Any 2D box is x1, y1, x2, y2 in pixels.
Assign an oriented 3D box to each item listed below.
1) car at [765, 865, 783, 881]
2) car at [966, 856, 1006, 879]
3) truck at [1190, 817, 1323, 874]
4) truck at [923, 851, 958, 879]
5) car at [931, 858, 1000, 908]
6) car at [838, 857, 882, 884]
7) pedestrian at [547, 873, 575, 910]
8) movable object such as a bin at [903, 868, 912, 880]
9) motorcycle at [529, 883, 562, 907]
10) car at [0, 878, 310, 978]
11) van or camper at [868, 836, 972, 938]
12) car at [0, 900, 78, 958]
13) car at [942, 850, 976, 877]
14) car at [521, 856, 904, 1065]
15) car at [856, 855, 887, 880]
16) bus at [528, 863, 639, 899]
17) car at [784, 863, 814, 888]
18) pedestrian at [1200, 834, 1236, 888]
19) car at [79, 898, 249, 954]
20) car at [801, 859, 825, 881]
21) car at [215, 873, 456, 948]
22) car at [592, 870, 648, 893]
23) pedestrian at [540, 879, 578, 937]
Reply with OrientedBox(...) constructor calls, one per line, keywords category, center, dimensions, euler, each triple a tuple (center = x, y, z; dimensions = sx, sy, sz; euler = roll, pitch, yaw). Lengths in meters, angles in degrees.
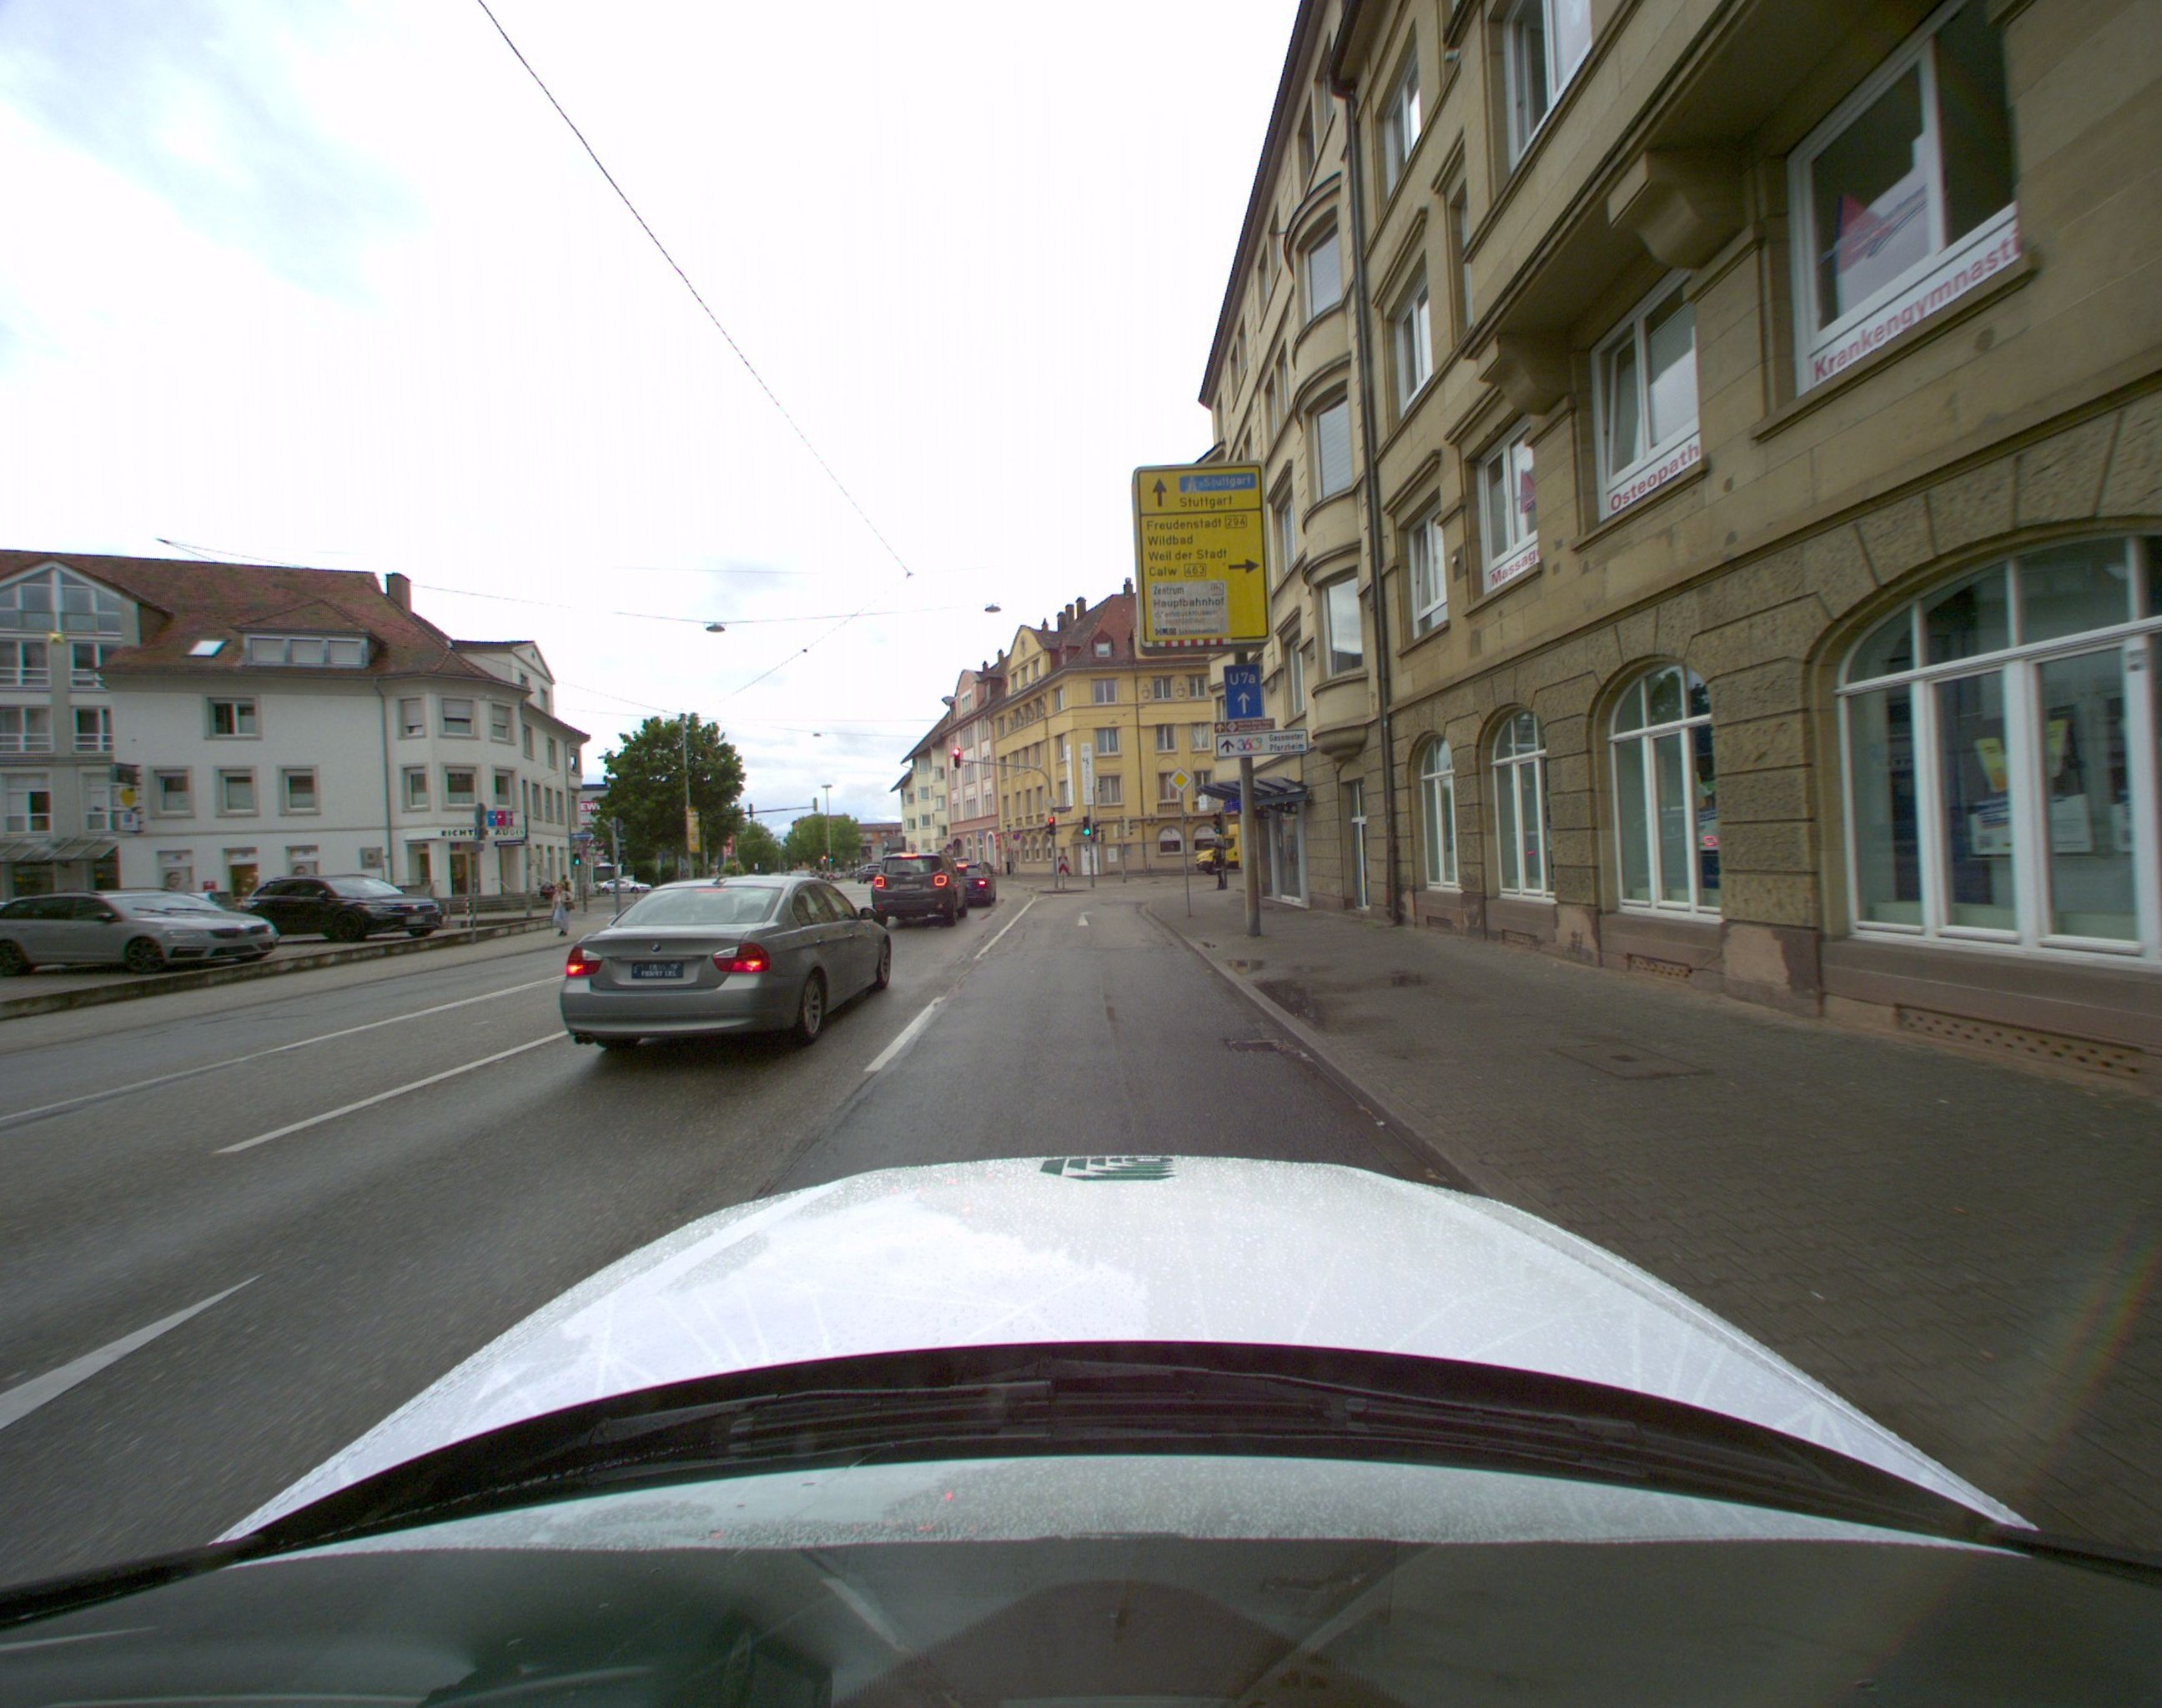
OrientedBox(category="car", center=(-37.670, 2.359, 99.813), dimensions=(1.895, 1.816, 3.969), euler=(-3, 0, -23))
OrientedBox(category="car", center=(-7.325, 1.032, 62.297), dimensions=(1.888, 1.637, 3.967), euler=(-2, 0, -25))
OrientedBox(category="truck", center=(9.978, -0.471, 46.735), dimensions=(7.071, 2.851, 2.082), euler=(-3, -1, -1))
OrientedBox(category="truck", center=(-12.762, 0.993, 73.712), dimensions=(2.037, 2.389, 4.201), euler=(-2, 0, -26))
OrientedBox(category="car", center=(-3.621, 0.886, 26.272), dimensions=(1.799, 1.406, 4.678), euler=(-2, -1, -3))
OrientedBox(category="car", center=(-15.901, 1.170, 58.398), dimensions=(2.007, 1.816, 3.961), euler=(-2, 0, -31))
OrientedBox(category="pedestrian", center=(-25.524, 1.813, 39.972), dimensions=(0.967, 1.708, 0.927), euler=(-3, 0, -26))
OrientedBox(category="movable object such as a bin", center=(-17.563, 2.017, 82.424), dimensions=(0.751, 1.231, 0.976), euler=(2, -2, -25))
OrientedBox(category="motorcycle", center=(-29.709, 2.272, 45.233), dimensions=(0.721, 1.178, 2.576), euler=(-3, 0, -15))
OrientedBox(category="car", center=(-17.305, 1.339, 15.131), dimensions=(4.421, 1.526, 1.890), euler=(-3, 0, 7))
OrientedBox(category="van or camper", center=(-3.719, 0.692, 19.482), dimensions=(1.851, 2.146, 4.137), euler=(-1, 0, -3))
OrientedBox(category="car", center=(-29.443, 2.024, 21.250), dimensions=(1.566, 1.500, 3.774), euler=(-3, -3, 15))
OrientedBox(category="car", center=(-10.282, 0.796, 68.655), dimensions=(1.771, 2.180, 3.966), euler=(0, -1, -26))
OrientedBox(category="car", center=(-3.068, 0.760, 7.937), dimensions=(1.794, 1.464, 4.368), euler=(1, 0, -1))
OrientedBox(category="car", center=(-17.860, 1.153, 69.312), dimensions=(2.001, 2.013, 3.971), euler=(-3, 0, -21))
OrientedBox(category="bus", center=(-49.490, 2.637, 81.204), dimensions=(9.088, 3.105, 2.917), euler=(2, 1, -2))
OrientedBox(category="car", center=(-20.093, 1.499, 57.945), dimensions=(1.852, 1.684, 3.971), euler=(-1, 0, -22))
OrientedBox(category="pedestrian", center=(5.036, 0.247, 29.891), dimensions=(1.048, 1.903, 1.030), euler=(-3, 0, 21))
OrientedBox(category="car", center=(-36.844, 2.840, 32.876), dimensions=(4.003, 1.815, 1.985), euler=(-3, 0, -22))
OrientedBox(category="car", center=(-26.944, 1.580, 81.842), dimensions=(2.002, 2.013, 3.970), euler=(-3, 0, -22))
OrientedBox(category="car", center=(-18.233, 1.357, 20.033), dimensions=(4.393, 1.506, 1.958), euler=(-3, 0, 8))
OrientedBox(category="car", center=(-41.791, 2.479, 73.941), dimensions=(3.994, 1.881, 1.815), euler=(-3, 0, -15))
OrientedBox(category="pedestrian", center=(-14.318, 1.471, 22.351), dimensions=(0.763, 1.529, 0.505), euler=(-1, -1, -21))
